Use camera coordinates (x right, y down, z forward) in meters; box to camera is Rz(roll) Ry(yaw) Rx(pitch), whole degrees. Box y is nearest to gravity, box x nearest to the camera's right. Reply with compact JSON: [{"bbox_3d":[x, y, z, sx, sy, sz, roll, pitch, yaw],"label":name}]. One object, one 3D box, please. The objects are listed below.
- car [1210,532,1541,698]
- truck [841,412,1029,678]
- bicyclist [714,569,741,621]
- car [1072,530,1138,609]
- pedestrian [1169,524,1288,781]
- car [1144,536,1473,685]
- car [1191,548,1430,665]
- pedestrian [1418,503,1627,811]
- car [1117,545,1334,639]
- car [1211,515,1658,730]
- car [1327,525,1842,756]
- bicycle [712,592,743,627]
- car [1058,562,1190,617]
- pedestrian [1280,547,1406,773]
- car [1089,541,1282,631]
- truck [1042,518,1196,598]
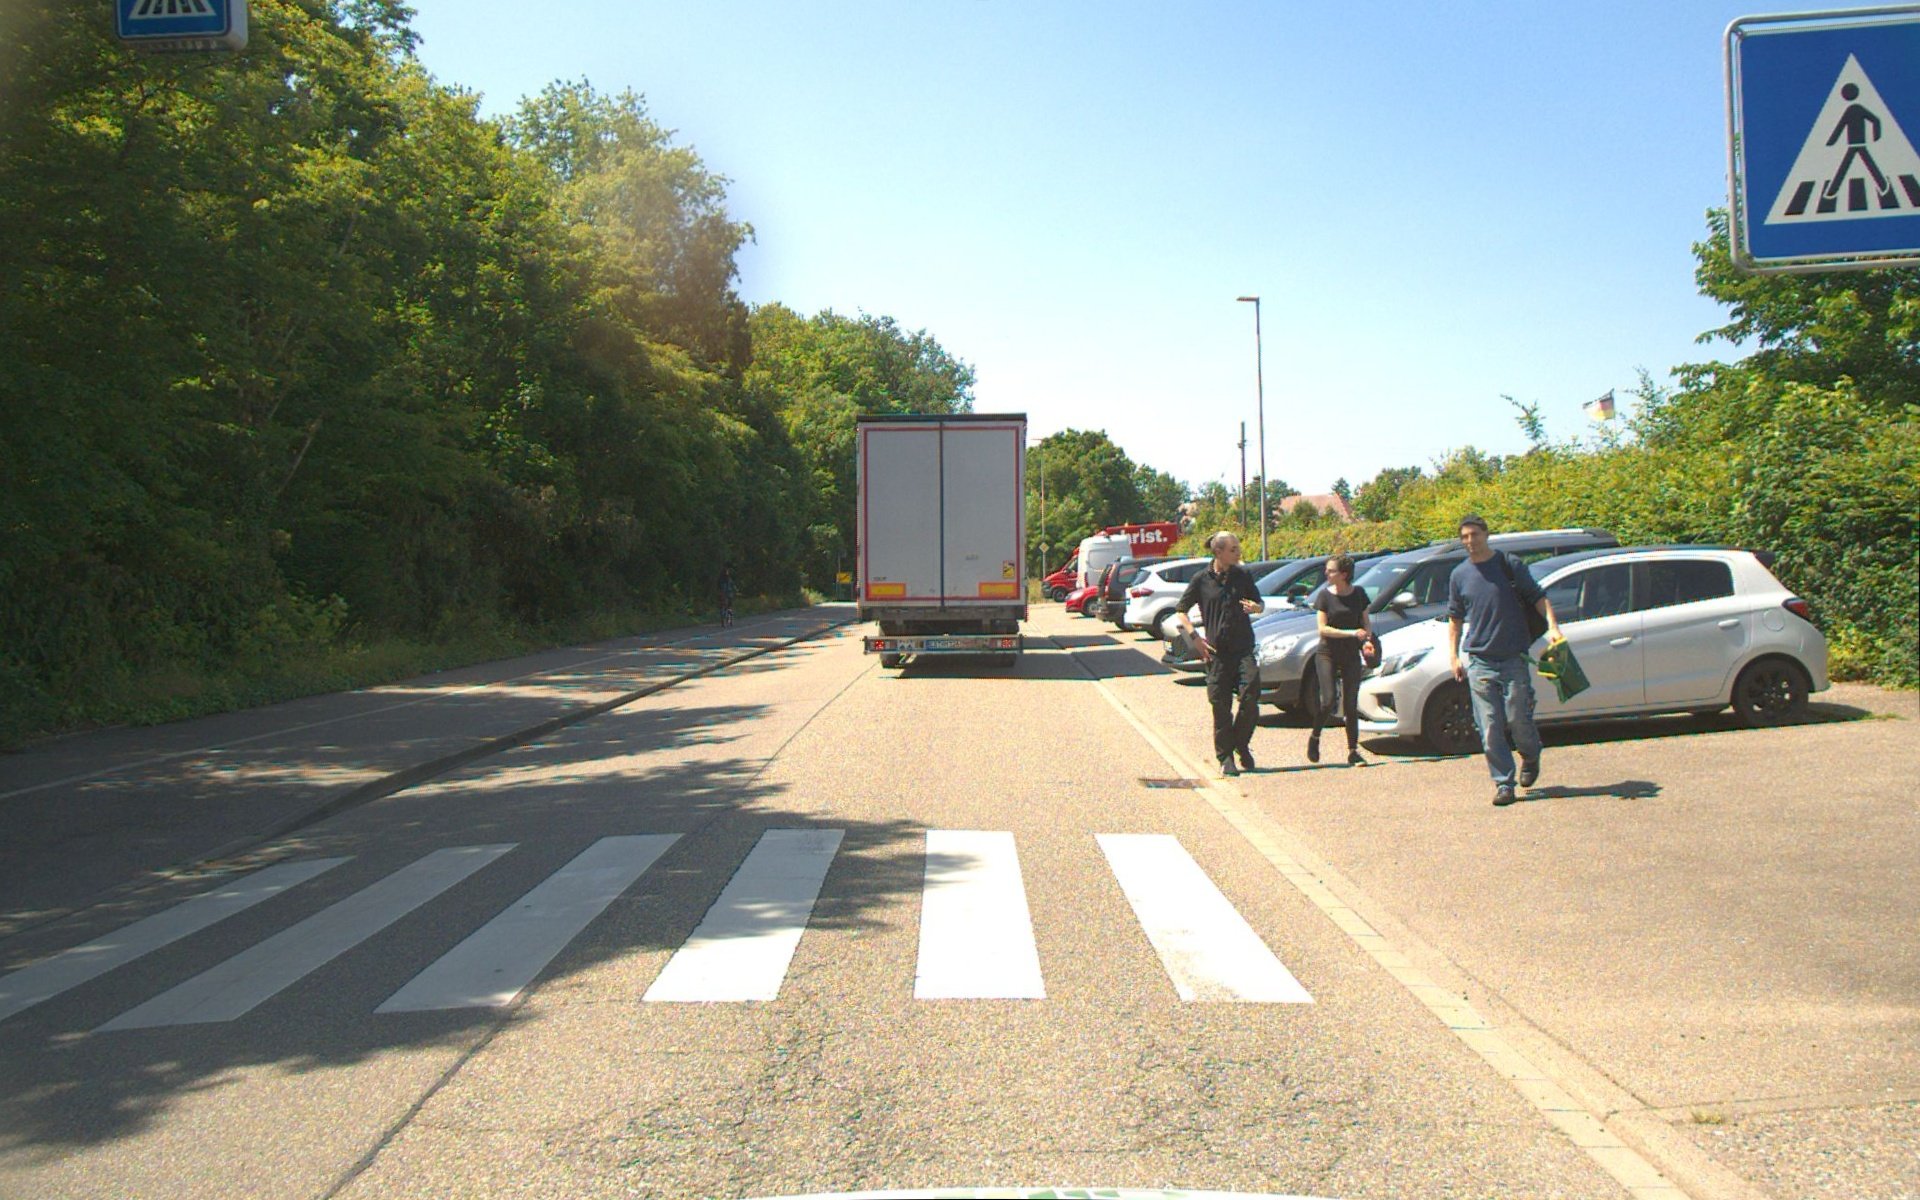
[{"bbox_3d":[4.860,0.152,19.568,3.386,1.553,1.538,-6,1,-5],"label":"car"},{"bbox_3d":[-0.240,-0.895,30.633,2.677,3.811,13.248,-1,1,1],"label":"truck"},{"bbox_3d":[-7.292,-0.154,51.895,0.635,1.592,0.837,-2,1,4],"label":"bicyclist"},{"bbox_3d":[5.582,-1.206,64.542,1.914,2.780,7.169,-4,1,1],"label":"car"},{"bbox_3d":[2.098,0.378,13.029,0.765,1.896,1.087,-4,2,7],"label":"pedestrian"},{"bbox_3d":[4.656,0.117,22.435,3.887,1.549,1.862,-6,1,-6],"label":"car"},{"bbox_3d":[5.325,0.076,25.433,3.317,1.529,1.589,-4,1,3],"label":"car"},{"bbox_3d":[3.536,0.336,10.526,0.998,1.781,1.160,-4,1,12],"label":"pedestrian"},{"bbox_3d":[5.552,-0.177,34.886,4.191,1.605,1.765,-4,1,-2],"label":"car"},{"bbox_3d":[4.690,0.188,16.642,3.885,1.668,1.662,-6,1,-5],"label":"car"},{"bbox_3d":[5.061,0.302,13.777,3.613,1.475,1.611,-5,1,4],"label":"car"},{"bbox_3d":[-7.288,0.290,51.821,0.549,1.045,1.840,-2,1,4],"label":"bicycle"},{"bbox_3d":[5.331,-0.364,54.020,3.974,1.458,1.835,-5,1,-3],"label":"car"},{"bbox_3d":[2.938,0.437,12.768,0.762,1.639,0.897,-4,2,7],"label":"pedestrian"},{"bbox_3d":[5.554,-0.353,41.097,4.366,1.836,1.951,-4,0,-4],"label":"car"},{"bbox_3d":[7.569,-1.987,78.534,6.984,3.499,2.333,-2,2,11],"label":"truck"}]
